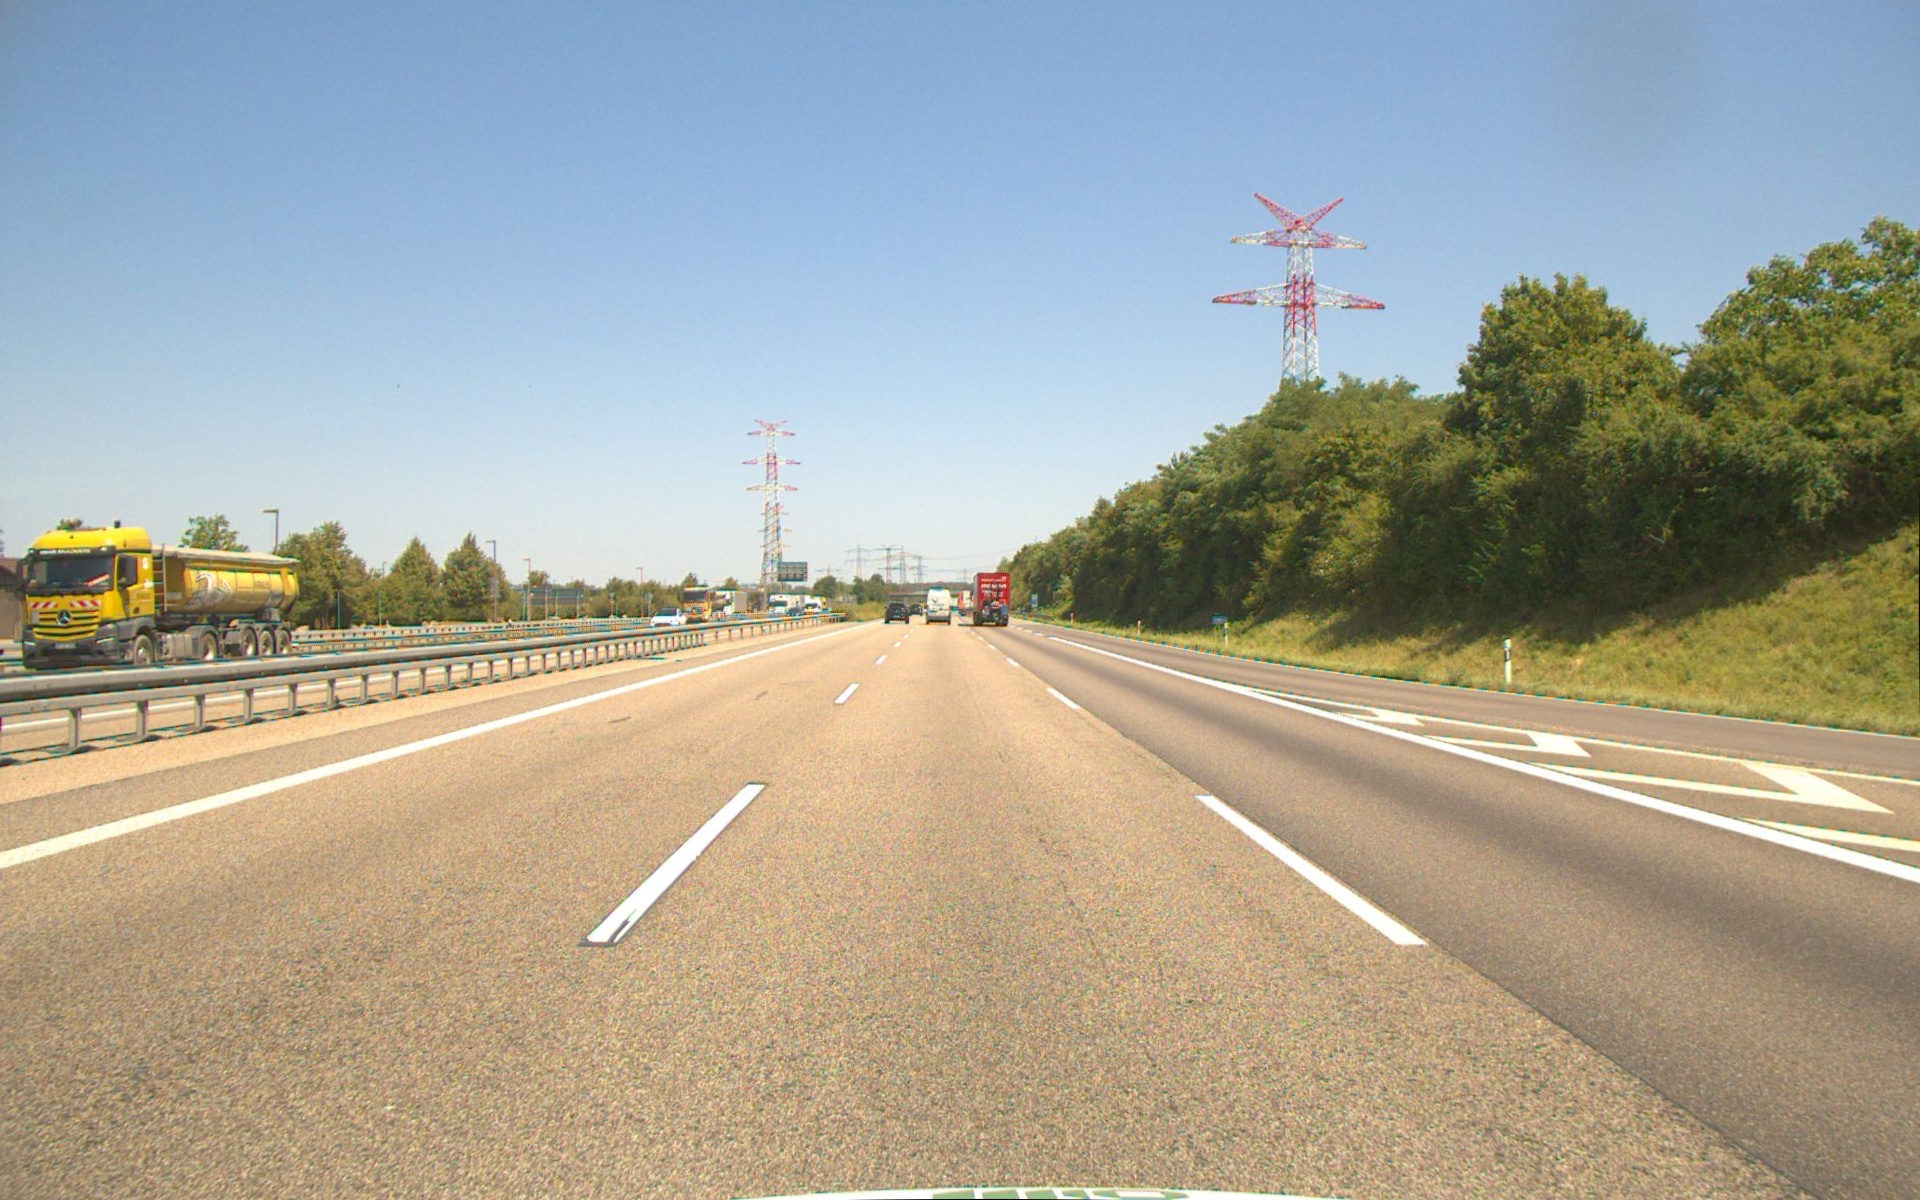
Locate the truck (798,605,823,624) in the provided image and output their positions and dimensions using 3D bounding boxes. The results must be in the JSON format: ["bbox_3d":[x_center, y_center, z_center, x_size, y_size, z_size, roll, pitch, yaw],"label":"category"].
[{"bbox_3d":[-20.223,1.919,223.781,2.662,2.464,8.105,0,0,-1],"label":"truck"}]

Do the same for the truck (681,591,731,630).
[{"bbox_3d":[-22.561,0.944,147.486,2.662,3.316,12.385,0,0,-1],"label":"truck"}]

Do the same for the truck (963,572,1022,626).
[{"bbox_3d":[2.479,-0.115,133.812,4.243,4.010,16.074,1,0,-1],"label":"truck"}]

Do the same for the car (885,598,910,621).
[{"bbox_3d":[-5.059,0.729,134.260,1.953,1.780,3.999,1,0,-2],"label":"car"}]

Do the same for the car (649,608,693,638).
[{"bbox_3d":[-18.381,1.437,105.355,2.011,1.875,5.471,0,0,-2],"label":"car"}]

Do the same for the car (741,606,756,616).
[{"bbox_3d":[-30.323,1.572,237.315,1.779,1.415,3.902,0,0,-2],"label":"car"}]

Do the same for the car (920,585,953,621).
[{"bbox_3d":[-1.949,0.243,135.006,2.568,2.807,6.094,1,0,-1],"label":"car"}]

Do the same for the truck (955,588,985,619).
[{"bbox_3d":[1.444,0.574,256.591,4.243,4.603,16.074,1,0,-1],"label":"truck"}]

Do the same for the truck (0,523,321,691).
[{"bbox_3d":[-21.570,0.185,45.214,3.107,3.877,13.527,0,0,-1],"label":"truck"}]

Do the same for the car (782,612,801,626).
[{"bbox_3d":[-18.338,2.077,180.580,1.779,1.415,3.902,0,0,-2],"label":"car"}]

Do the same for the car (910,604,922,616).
[{"bbox_3d":[-6.394,1.424,238.811,1.712,1.662,4.002,1,0,-1],"label":"car"}]
